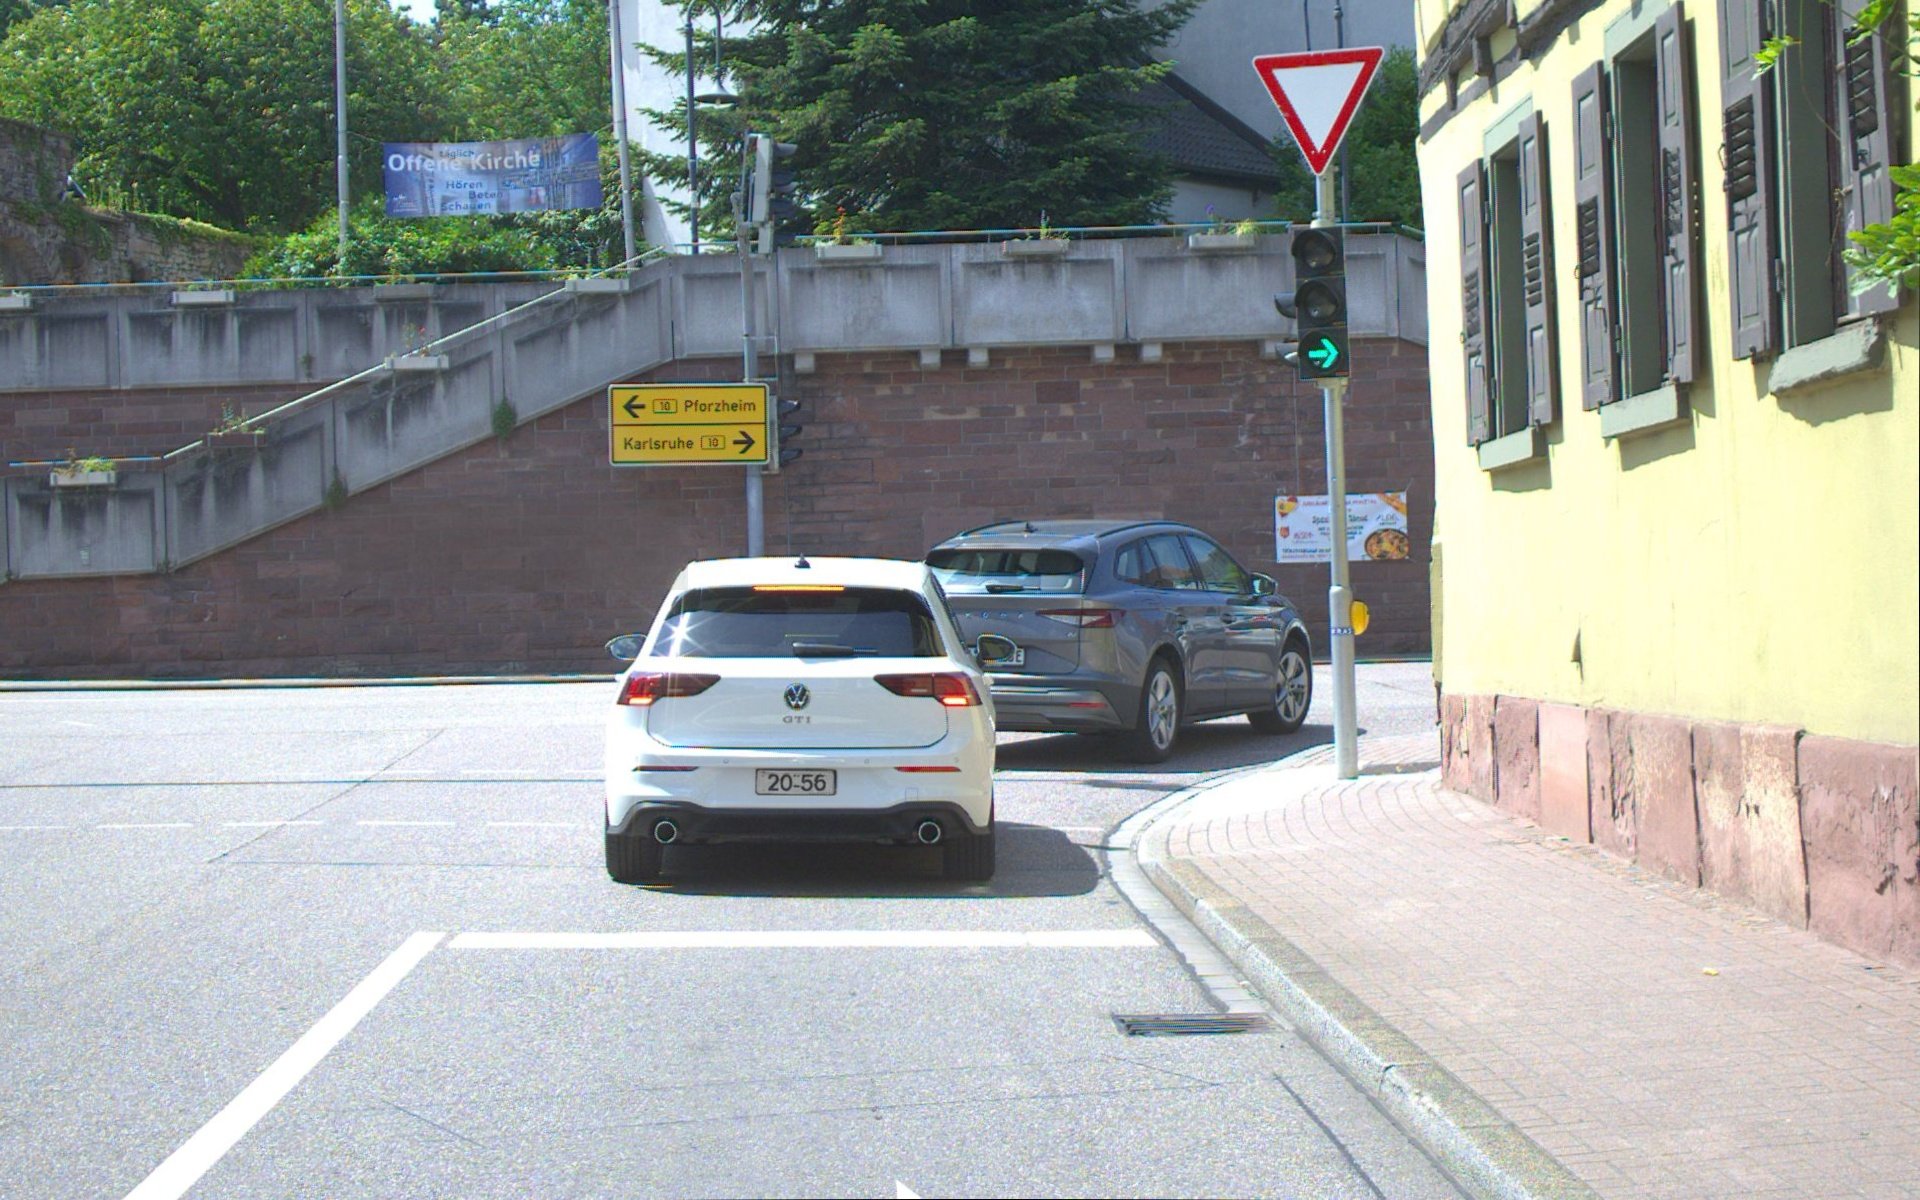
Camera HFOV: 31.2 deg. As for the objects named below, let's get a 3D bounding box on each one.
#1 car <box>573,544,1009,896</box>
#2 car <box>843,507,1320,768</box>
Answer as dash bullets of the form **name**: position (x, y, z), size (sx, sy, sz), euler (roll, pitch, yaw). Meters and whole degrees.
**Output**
- **car**: position (-0.695, 0.493, 16.574), size (1.783, 1.453, 3.863), euler (-2, 0, 1)
- **car**: position (0.974, 0.191, 24.364), size (1.951, 1.577, 4.321), euler (0, 3, 23)
